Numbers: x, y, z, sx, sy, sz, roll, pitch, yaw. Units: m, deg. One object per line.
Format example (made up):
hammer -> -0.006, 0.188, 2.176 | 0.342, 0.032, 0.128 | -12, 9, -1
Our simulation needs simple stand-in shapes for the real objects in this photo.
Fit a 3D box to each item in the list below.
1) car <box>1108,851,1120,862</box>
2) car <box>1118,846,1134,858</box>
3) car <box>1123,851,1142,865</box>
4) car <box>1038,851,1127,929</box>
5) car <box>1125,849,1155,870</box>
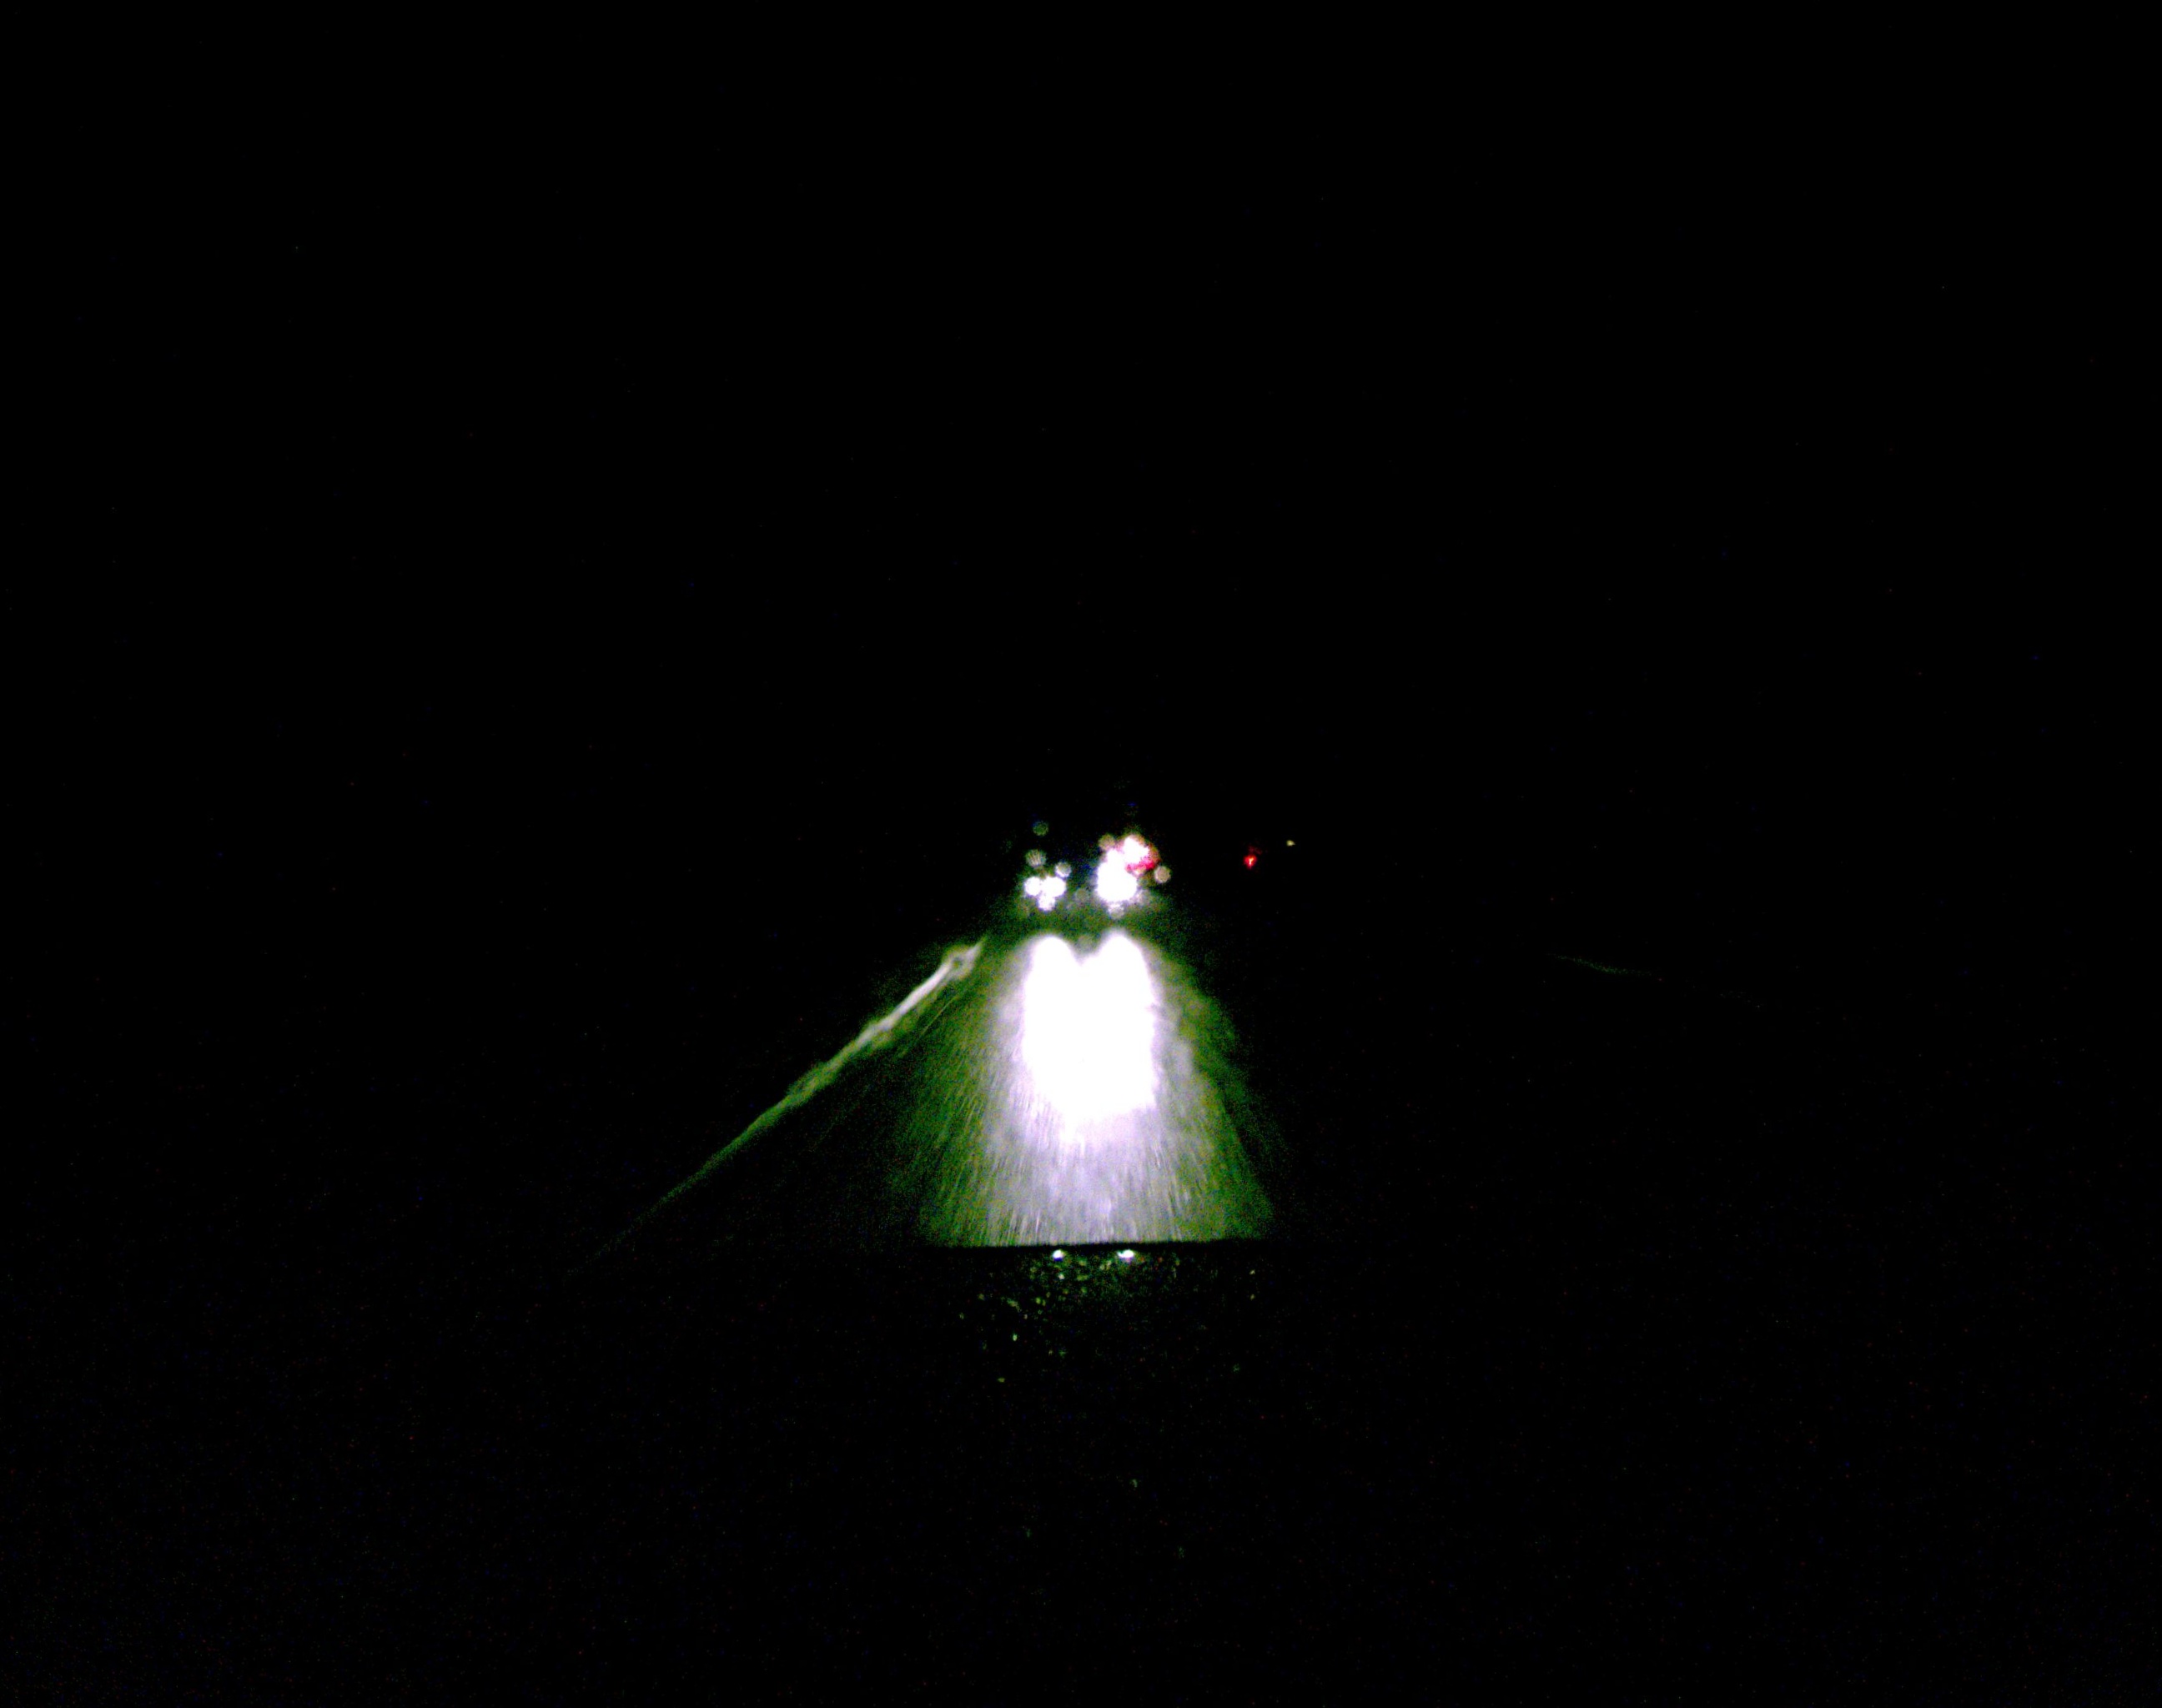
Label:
car -> 5.201, 0.336, 120.125 | 1.845, 1.565, 4.000 | -2, 1, 3
car -> 6.647, -0.335, 112.322 | 1.957, 1.646, 4.124 | -1, 0, -1
car -> 6.098, 0.482, 90.204 | 1.842, 1.537, 4.257 | -2, 0, 0
car -> 0.134, 0.773, 18.285 | 1.845, 1.565, 4.000 | -2, 1, 3
car -> 4.594, 0.417, 59.801 | 1.908, 1.461, 4.274 | -3, 0, 0
